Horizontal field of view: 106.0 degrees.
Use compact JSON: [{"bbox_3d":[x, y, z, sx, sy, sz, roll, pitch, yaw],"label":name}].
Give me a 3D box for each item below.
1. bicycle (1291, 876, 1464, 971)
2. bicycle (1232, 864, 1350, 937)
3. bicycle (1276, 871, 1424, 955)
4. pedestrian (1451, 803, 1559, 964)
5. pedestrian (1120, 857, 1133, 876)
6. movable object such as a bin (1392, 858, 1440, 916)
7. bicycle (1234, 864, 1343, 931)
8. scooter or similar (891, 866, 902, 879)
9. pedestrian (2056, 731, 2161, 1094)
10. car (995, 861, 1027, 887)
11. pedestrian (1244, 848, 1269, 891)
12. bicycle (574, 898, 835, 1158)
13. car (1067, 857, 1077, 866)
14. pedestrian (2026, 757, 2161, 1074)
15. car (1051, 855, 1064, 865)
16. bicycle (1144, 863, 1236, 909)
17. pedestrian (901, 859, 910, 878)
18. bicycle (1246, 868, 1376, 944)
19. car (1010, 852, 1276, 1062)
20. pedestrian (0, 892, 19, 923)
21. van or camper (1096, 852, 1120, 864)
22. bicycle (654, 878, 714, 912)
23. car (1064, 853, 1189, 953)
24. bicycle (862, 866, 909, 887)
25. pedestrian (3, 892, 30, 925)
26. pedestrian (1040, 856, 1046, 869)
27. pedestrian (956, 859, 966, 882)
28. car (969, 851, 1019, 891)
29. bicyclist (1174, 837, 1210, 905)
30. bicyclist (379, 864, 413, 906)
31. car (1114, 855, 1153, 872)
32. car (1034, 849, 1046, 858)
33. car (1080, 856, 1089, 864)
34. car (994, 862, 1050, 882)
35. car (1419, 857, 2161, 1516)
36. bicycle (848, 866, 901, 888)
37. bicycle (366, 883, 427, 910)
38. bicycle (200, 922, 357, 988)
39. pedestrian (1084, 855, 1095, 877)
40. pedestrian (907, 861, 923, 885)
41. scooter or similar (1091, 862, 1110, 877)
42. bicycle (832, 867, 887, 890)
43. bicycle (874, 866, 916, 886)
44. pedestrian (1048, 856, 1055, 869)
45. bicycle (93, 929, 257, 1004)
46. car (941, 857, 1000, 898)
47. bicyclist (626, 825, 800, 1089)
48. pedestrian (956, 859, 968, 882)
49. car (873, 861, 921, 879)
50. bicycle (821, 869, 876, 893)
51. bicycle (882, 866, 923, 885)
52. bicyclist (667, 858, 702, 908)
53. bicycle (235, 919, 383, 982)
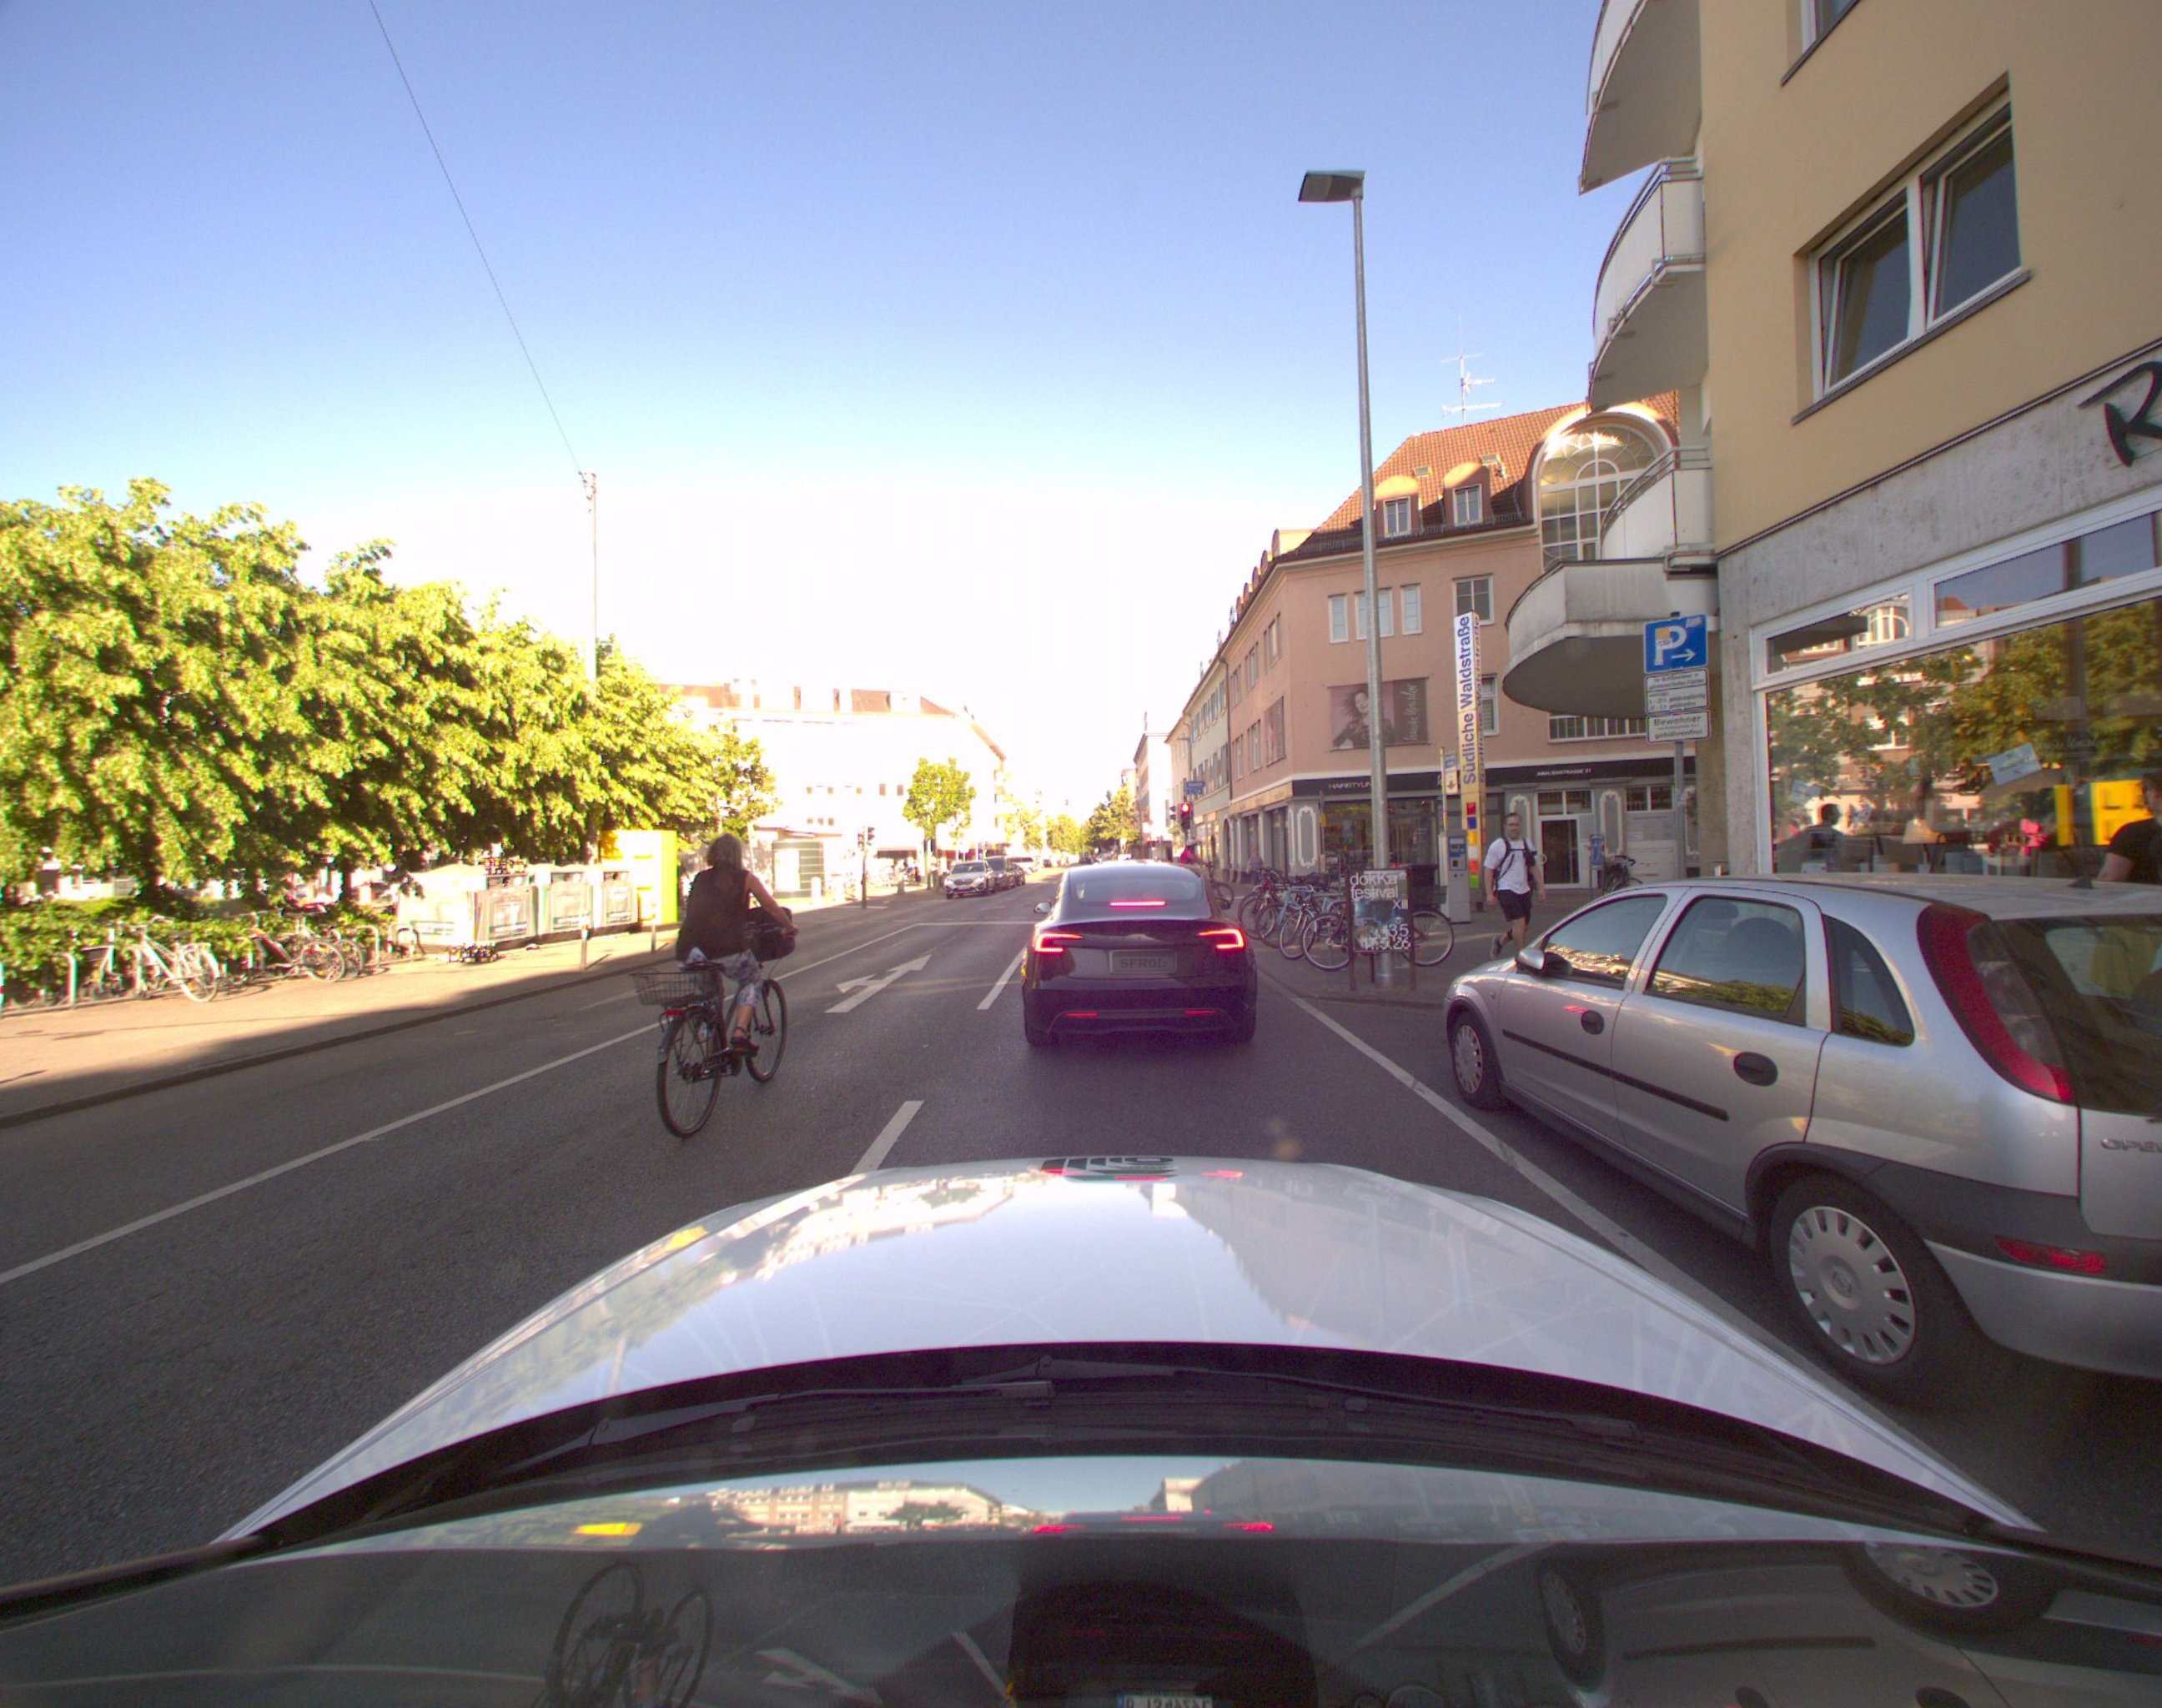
[{"bbox_3d":[3.642,0.842,10.098,1.875,1.044,0.653,-2,0,2],"label":"bicycle"},{"bbox_3d":[3.502,0.772,13.658,1.806,1.152,0.653,-1,0,3],"label":"bicycle"},{"bbox_3d":[3.662,0.795,11.171,1.806,1.060,0.653,-1,0,3],"label":"bicycle"},{"bbox_3d":[5.024,0.337,9.720,0.805,1.823,0.984,0,-1,5],"label":"pedestrian"},{"bbox_3d":[3.834,1.060,68.668,0.812,1.609,0.702,0,-1,-35],"label":"pedestrian"},{"bbox_3d":[6.751,0.656,16.438,0.633,1.103,0.728,-4,-1,5],"label":"movable object such as a bin"},{"bbox_3d":[3.743,0.780,14.787,1.806,1.152,0.653,-1,0,3],"label":"bicycle"},{"bbox_3d":[-14.412,1.429,63.527,0.787,0.957,0.462,0,-1,-11],"label":"scooter or similar"},{"bbox_3d":[5.871,0.274,4.231,0.687,1.849,0.883,-3,-2,-42],"label":"pedestrian"},{"bbox_3d":[-4.253,1.201,50.062,1.455,1.430,3.607,-5,-1,2],"label":"car"},{"bbox_3d":[6.429,0.565,29.918,0.786,1.549,0.724,0,-1,2],"label":"pedestrian"},{"bbox_3d":[-2.231,0.942,5.163,0.625,1.223,2.002,0,0,3],"label":"bicycle"},{"bbox_3d":[-1.999,1.764,187.444,2.124,1.970,4.135,-1,0,2],"label":"car"},{"bbox_3d":[6.270,0.330,4.795,0.714,1.754,0.792,-5,-1,41],"label":"pedestrian"},{"bbox_3d":[-4.859,1.311,166.823,2.405,1.970,4.679,-1,0,2],"label":"car"},{"bbox_3d":[2.933,0.847,21.886,2.376,1.151,0.714,-2,0,8],"label":"bicycle"},{"bbox_3d":[-13.719,1.144,63.680,0.624,1.524,0.577,0,-1,-11],"label":"pedestrian"},{"bbox_3d":[3.525,0.788,12.582,1.806,1.102,0.653,-1,0,3],"label":"bicycle"},{"bbox_3d":[0.502,0.737,7.898,1.843,1.447,4.453,0,0,2],"label":"car"},{"bbox_3d":[-55.224,2.729,41.610,1.029,1.520,1.023,0,-1,-43],"label":"pedestrian"},{"bbox_3d":[5.633,0.839,167.676,4.833,2.438,1.851,-1,0,1],"label":"van or camper"},{"bbox_3d":[-13.666,1.401,28.040,1.937,1.162,0.620,-1,-1,14],"label":"bicycle"},{"bbox_3d":[0.748,0.747,14.322,1.843,1.482,4.453,0,0,2],"label":"car"},{"bbox_3d":[-12.050,1.384,50.316,2.655,1.259,0.942,0,-1,-1],"label":"bicycle"},{"bbox_3d":[-51.930,2.653,39.723,0.827,1.520,0.782,-1,-1,38],"label":"pedestrian"},{"bbox_3d":[-5.658,1.301,120.494,0.697,1.868,0.904,0,-1,-19],"label":"pedestrian"},{"bbox_3d":[-9.415,1.277,63.974,0.661,1.760,0.648,0,-1,-24],"label":"pedestrian"},{"bbox_3d":[-4.491,0.832,42.936,1.938,1.947,4.822,-1,0,2],"label":"car"},{"bbox_3d":[2.989,0.465,21.881,0.859,1.755,0.683,-3,-2,9],"label":"bicyclist"},{"bbox_3d":[-23.552,1.062,28.009,0.701,1.381,0.577,-3,-2,14],"label":"bicyclist"},{"bbox_3d":[5.932,1.105,91.892,3.959,1.788,2.052,-1,0,20],"label":"car"},{"bbox_3d":[-9.021,-0.025,180.153,2.266,2.014,4.720,0,-1,3],"label":"car"},{"bbox_3d":[0.781,1.410,182.416,1.886,1.813,3.925,0,-1,0],"label":"car"},{"bbox_3d":[-5.825,1.758,80.381,5.213,1.866,1.871,-1,0,-20],"label":"car"},{"bbox_3d":[2.967,0.736,3.562,1.578,1.426,3.581,0,-1,2],"label":"car"},{"bbox_3d":[-12.151,1.361,47.998,2.867,1.270,0.942,0,-1,-1],"label":"bicycle"},{"bbox_3d":[-23.528,1.465,27.994,1.840,0.823,0.583,-4,-1,14],"label":"bicycle"},{"bbox_3d":[-11.420,1.423,11.618,1.667,0.859,0.469,0,-1,-5],"label":"bicycle"},{"bbox_3d":[0.677,0.946,65.778,0.660,1.760,0.649,0,-1,-22],"label":"pedestrian"},{"bbox_3d":[-11.399,1.282,55.931,1.094,1.611,1.261,0,-1,-13],"label":"pedestrian"},{"bbox_3d":[1.557,1.256,66.304,1.339,1.134,0.804,0,-1,-23],"label":"scooter or similar"},{"bbox_3d":[-12.389,1.368,45.603,2.772,1.274,0.933,0,-1,-2],"label":"bicycle"},{"bbox_3d":[-11.995,1.398,52.592,2.535,1.251,0.942,0,-1,-1],"label":"bicycle"},{"bbox_3d":[-4.299,1.275,118.505,0.776,1.868,1.003,0,-1,-17],"label":"pedestrian"},{"bbox_3d":[-11.455,1.417,10.320,1.560,0.885,0.470,0,-1,1],"label":"bicycle"},{"bbox_3d":[-4.879,1.013,36.613,1.818,1.565,4.302,-5,-1,2],"label":"car"},{"bbox_3d":[-2.239,0.582,5.065,0.603,1.484,0.959,0,-1,3],"label":"bicyclist"},{"bbox_3d":[-9.273,1.272,63.328,0.844,1.760,0.704,0,-1,-12],"label":"pedestrian"},{"bbox_3d":[-16.964,1.421,75.038,4.133,1.530,1.541,-1,0,-20],"label":"car"},{"bbox_3d":[-12.321,1.436,43.259,2.652,1.195,0.942,0,-1,-1],"label":"bicycle"},{"bbox_3d":[-12.049,1.417,55.019,2.535,1.251,0.942,0,-1,-1],"label":"bicycle"},{"bbox_3d":[-13.654,0.987,28.034,0.801,1.709,0.706,-1,-1,14],"label":"bicyclist"},{"bbox_3d":[-11.459,1.424,12.116,1.663,0.859,0.469,0,-1,-5],"label":"bicycle"}]
